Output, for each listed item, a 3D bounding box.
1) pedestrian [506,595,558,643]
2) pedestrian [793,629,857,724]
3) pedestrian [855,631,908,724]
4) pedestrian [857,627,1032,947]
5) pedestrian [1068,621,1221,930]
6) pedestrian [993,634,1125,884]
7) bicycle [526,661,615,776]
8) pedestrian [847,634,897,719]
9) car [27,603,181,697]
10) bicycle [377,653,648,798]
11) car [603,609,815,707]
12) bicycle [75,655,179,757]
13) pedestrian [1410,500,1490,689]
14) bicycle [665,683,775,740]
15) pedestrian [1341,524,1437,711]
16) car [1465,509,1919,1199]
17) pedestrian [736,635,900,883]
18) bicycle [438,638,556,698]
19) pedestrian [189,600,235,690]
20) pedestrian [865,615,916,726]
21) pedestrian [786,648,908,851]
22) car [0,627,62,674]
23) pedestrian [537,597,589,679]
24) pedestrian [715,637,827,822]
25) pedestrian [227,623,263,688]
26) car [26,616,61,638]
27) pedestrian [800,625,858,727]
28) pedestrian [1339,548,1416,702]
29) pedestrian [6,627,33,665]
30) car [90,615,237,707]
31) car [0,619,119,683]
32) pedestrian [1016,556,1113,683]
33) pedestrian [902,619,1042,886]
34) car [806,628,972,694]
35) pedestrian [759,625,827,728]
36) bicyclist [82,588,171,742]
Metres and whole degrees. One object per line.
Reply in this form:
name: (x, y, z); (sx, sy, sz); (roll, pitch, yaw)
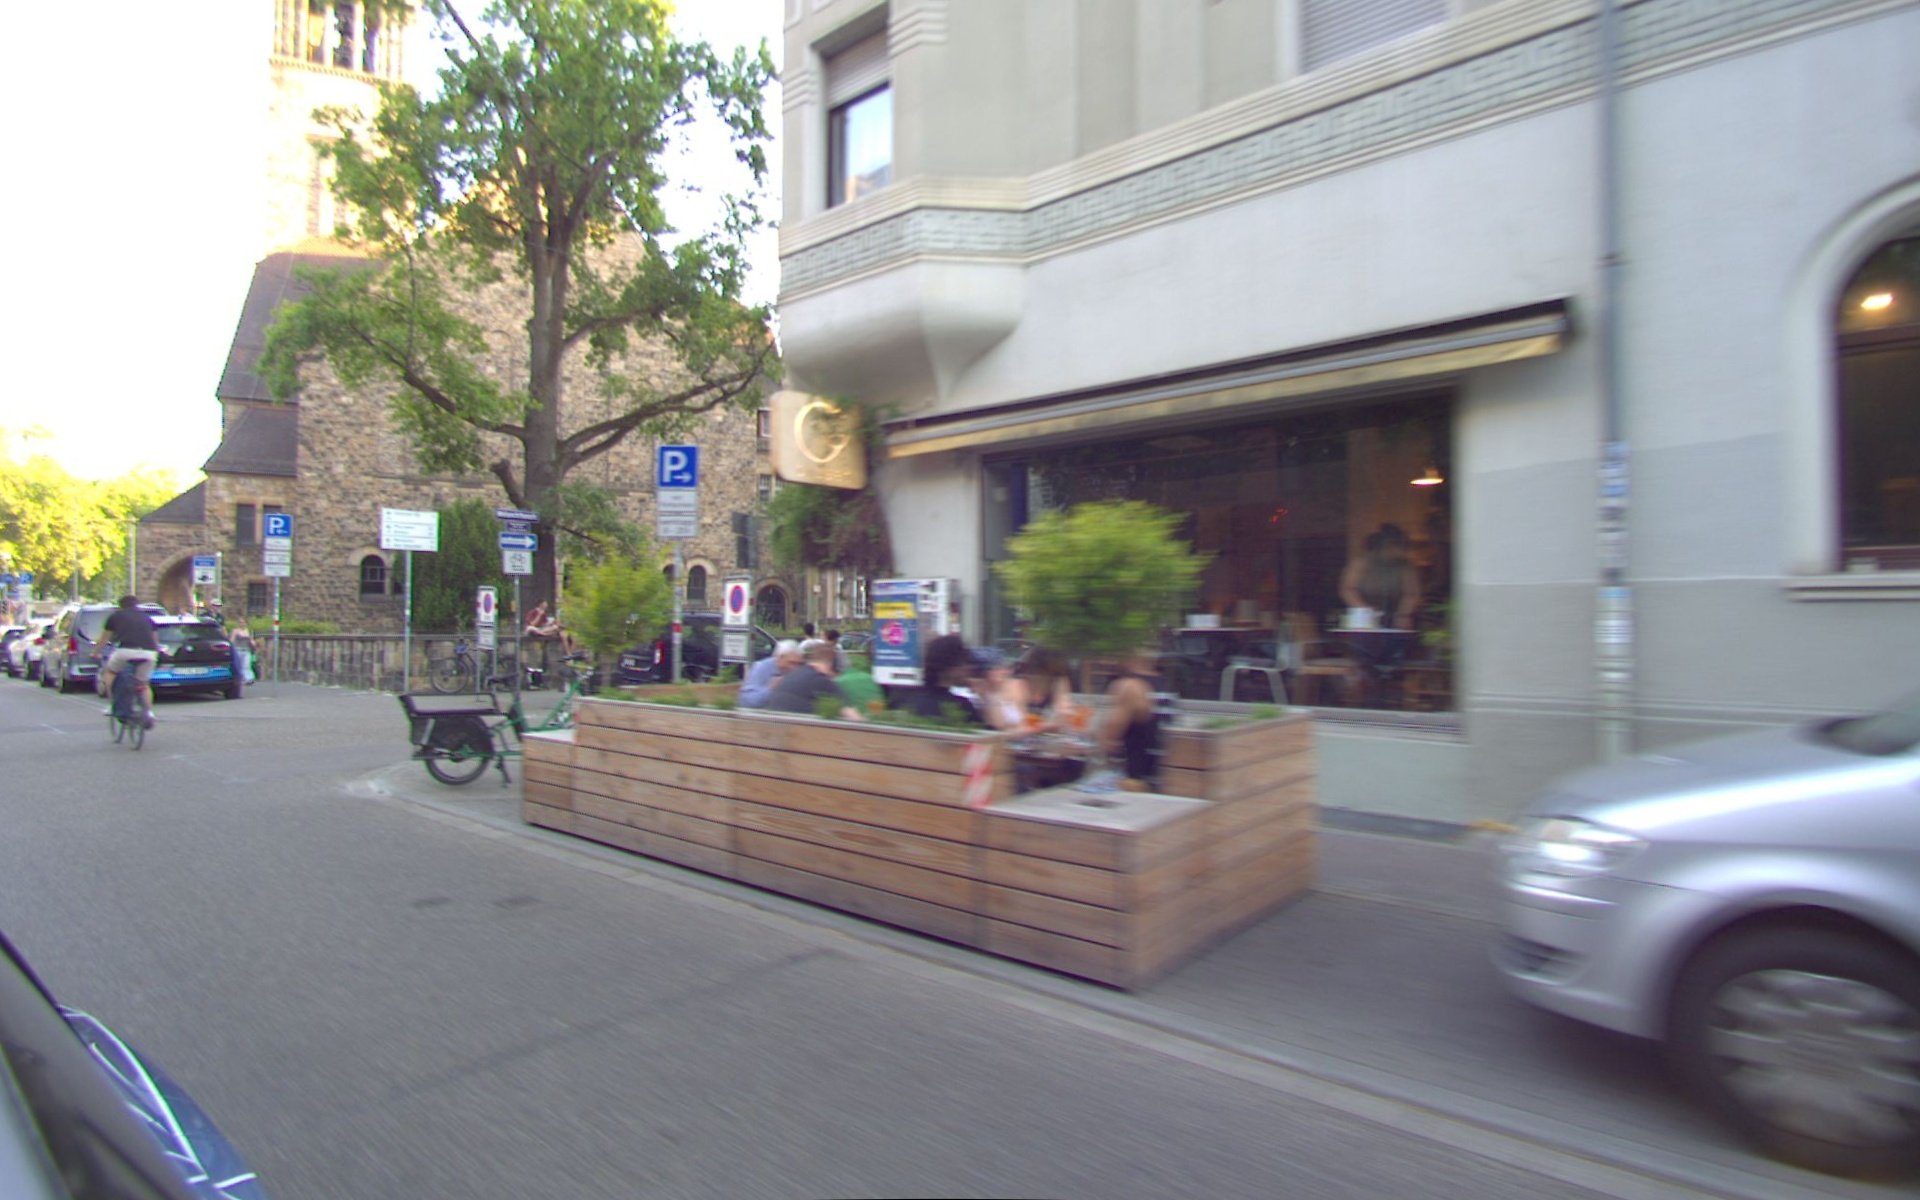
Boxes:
pedestrian: (-9.040, 0.417, 21.370); (0.836, 0.988, 0.699); (-2, -3, 39)
pedestrian: (-2.195, 1.223, 16.463); (0.783, 1.480, 0.694); (-2, -3, 40)
pedestrian: (-1.268, 1.231, 16.304); (0.644, 1.454, 0.565); (-2, -3, 42)
pedestrian: (-0.078, 0.808, 4.734); (0.668, 1.360, 0.479); (-2, -2, 40)
pedestrian: (0.887, 0.785, 4.852); (0.539, 1.360, 0.512); (-1, -2, 38)
pedestrian: (0.579, 0.883, 5.933); (0.610, 1.360, 0.463); (-2, -2, 40)
bicycle: (-3.885, 1.126, 10.032); (0.417, 1.020, 1.722); (1, -3, -35)
pedestrian: (-1.518, 1.309, 17.497); (0.644, 1.422, 0.566); (-2, -3, 41)
car: (-19.354, 1.084, 22.785); (5.289, 1.881, 1.972); (-2, -2, 43)
bicycle: (-3.817, 1.034, 8.754); (2.080, 1.103, 0.502); (0, -3, -24)
car: (-5.237, 1.186, 21.442); (1.892, 1.858, 3.942); (-2, -3, 44)
bicycle: (-9.680, 1.185, 11.736); (1.903, 1.048, 0.608); (-2, -3, 41)
pedestrian: (4.519, -0.042, 9.333); (0.518, 1.667, 0.533); (-2, -2, 41)
bicycle: (-3.219, 1.471, 13.478); (1.777, 0.701, 0.419); (-4, -4, 39)
pedestrian: (3.293, 0.135, 7.760); (0.518, 1.360, 0.533); (-2, -2, 42)
car: (3.697, 0.586, 2.187); (4.311, 1.603, 1.973); (-2, -2, 41)
pedestrian: (-0.840, 0.877, 5.976); (0.770, 1.335, 0.603); (-2, -2, 40)
bicycle: (-9.318, 1.346, 20.445); (0.555, 1.142, 2.116); (-2, -3, 42)
pedestrian: (-16.325, 0.969, 22.080); (0.802, 1.920, 0.576); (-2, -3, 38)
pedestrian: (-1.047, 1.047, 15.311); (0.546, 1.633, 0.535); (-2, -3, 40)
pedestrian: (-0.804, 1.017, 7.187); (0.705, 1.335, 0.531); (-2, -2, 42)
car: (-30.544, 1.612, 32.747); (4.315, 1.446, 1.764); (-2, -3, 43)
pedestrian: (-8.593, 0.814, 21.919); (0.836, 1.734, 0.699); (-2, -3, 39)
pedestrian: (-1.458, 0.956, 7.787); (0.705, 1.335, 0.531); (-2, -2, 42)
pedestrian: (-15.958, 1.234, 22.592); (0.659, 1.416, 0.526); (-2, -1, 41)
car: (-86.223, 2.600, 95.247); (1.837, 2.029, 3.820); (2, -3, -34)
pedestrian: (-1.962, 1.113, 15.136); (0.644, 1.480, 0.566); (-2, -3, 39)
pedestrian: (3.923, 0.232, 9.506); (0.518, 1.394, 0.533); (-2, -2, 41)
pedestrian: (-44.139, 2.159, 47.489); (0.689, 1.738, 0.708); (-1, -2, 31)
car: (-15.294, 1.115, 19.352); (4.004, 1.567, 1.622); (-2, -3, 43)
car: (-24.590, 1.339, 27.498); (4.464, 1.604, 1.852); (-2, -3, 40)
pedestrian: (1.003, 0.190, 9.711); (0.747, 1.162, 0.551); (-2, -2, 40)
pedestrian: (0.064, 0.788, 5.549); (0.610, 1.360, 0.463); (-2, -2, 40)
car: (-1.687, 1.471, 25.264); (1.720, 1.511, 4.156); (-2, -3, 40)
pedestrian: (-2.611, 1.177, 15.808); (0.783, 1.552, 0.694); (-2, -3, 40)
bicyclist: (-9.697, 0.737, 11.765); (1.142, 1.697, 0.596); (-2, -3, 42)
